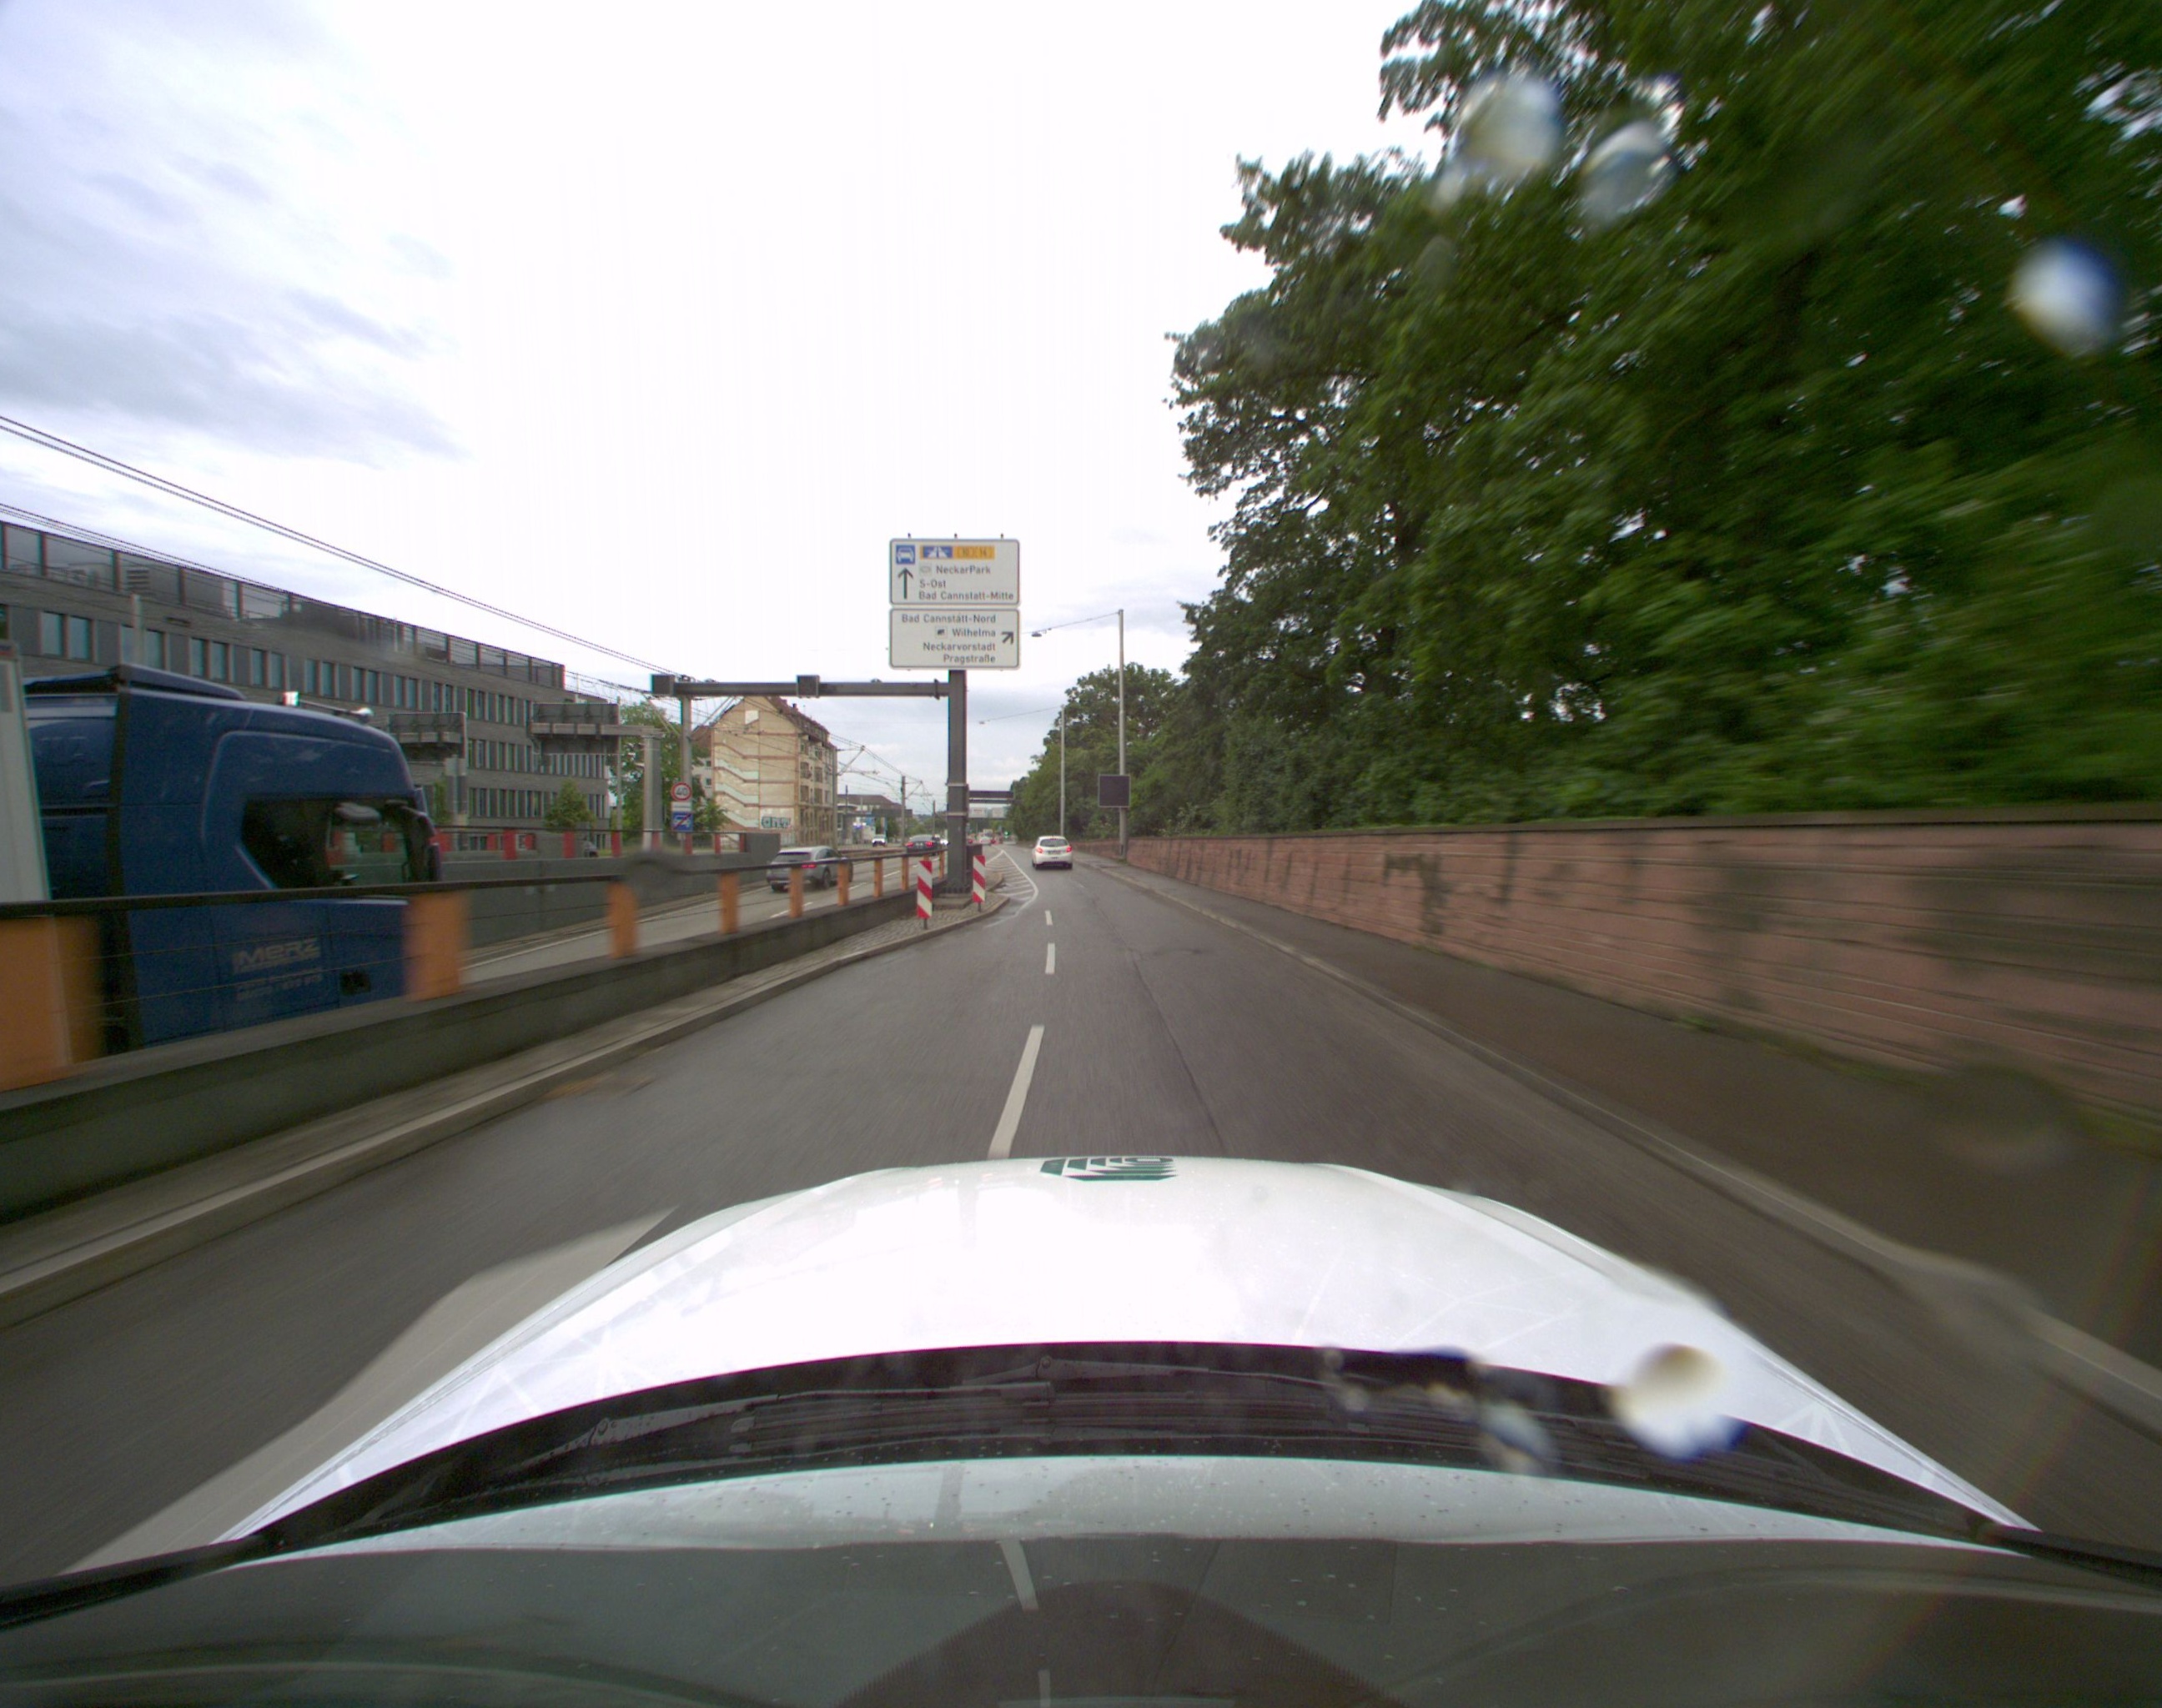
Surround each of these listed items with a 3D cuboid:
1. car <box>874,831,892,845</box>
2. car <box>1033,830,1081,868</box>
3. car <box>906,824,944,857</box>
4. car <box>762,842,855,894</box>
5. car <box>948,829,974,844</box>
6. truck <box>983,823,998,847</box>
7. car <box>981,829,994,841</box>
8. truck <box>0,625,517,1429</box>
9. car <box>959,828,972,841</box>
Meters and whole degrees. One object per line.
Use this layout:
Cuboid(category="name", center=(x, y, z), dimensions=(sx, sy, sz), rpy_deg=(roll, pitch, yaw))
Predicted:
Cuboid(category="car", center=(-31.416, -2.550, 129.266), dimensions=(1.991, 2.118, 5.100), rpy_deg=(1, 0, -6))
Cuboid(category="car", center=(-1.179, -0.275, 37.898), dimensions=(1.953, 1.487, 3.993), rpy_deg=(1, 4, -6))
Cuboid(category="car", center=(-9.937, -0.885, 52.102), dimensions=(1.716, 1.890, 3.536), rpy_deg=(0, 4, 0))
Cuboid(category="car", center=(-9.701, 0.442, 29.359), dimensions=(1.814, 1.565, 4.094), rpy_deg=(-2, 2, 1))
Cuboid(category="car", center=(-12.771, -1.861, 86.800), dimensions=(1.986, 1.575, 4.003), rpy_deg=(-1, 1, 2))
Cuboid(category="truck", center=(-23.657, -4.965, 213.008), dimensions=(3.459, 5.402, 12.029), rpy_deg=(1, -2, -5))
Cuboid(category="car", center=(-15.159, -3.057, 132.156), dimensions=(2.079, 1.872, 4.088), rpy_deg=(-1, 0, -5))
Cuboid(category="truck", center=(-7.032, 0.914, 4.535), dimensions=(2.752, 4.196, 6.788), rpy_deg=(-1, 1, 2))
Cuboid(category="car", center=(-18.956, -3.195, 134.224), dimensions=(1.992, 2.014, 3.989), rpy_deg=(1, -2, -7))
